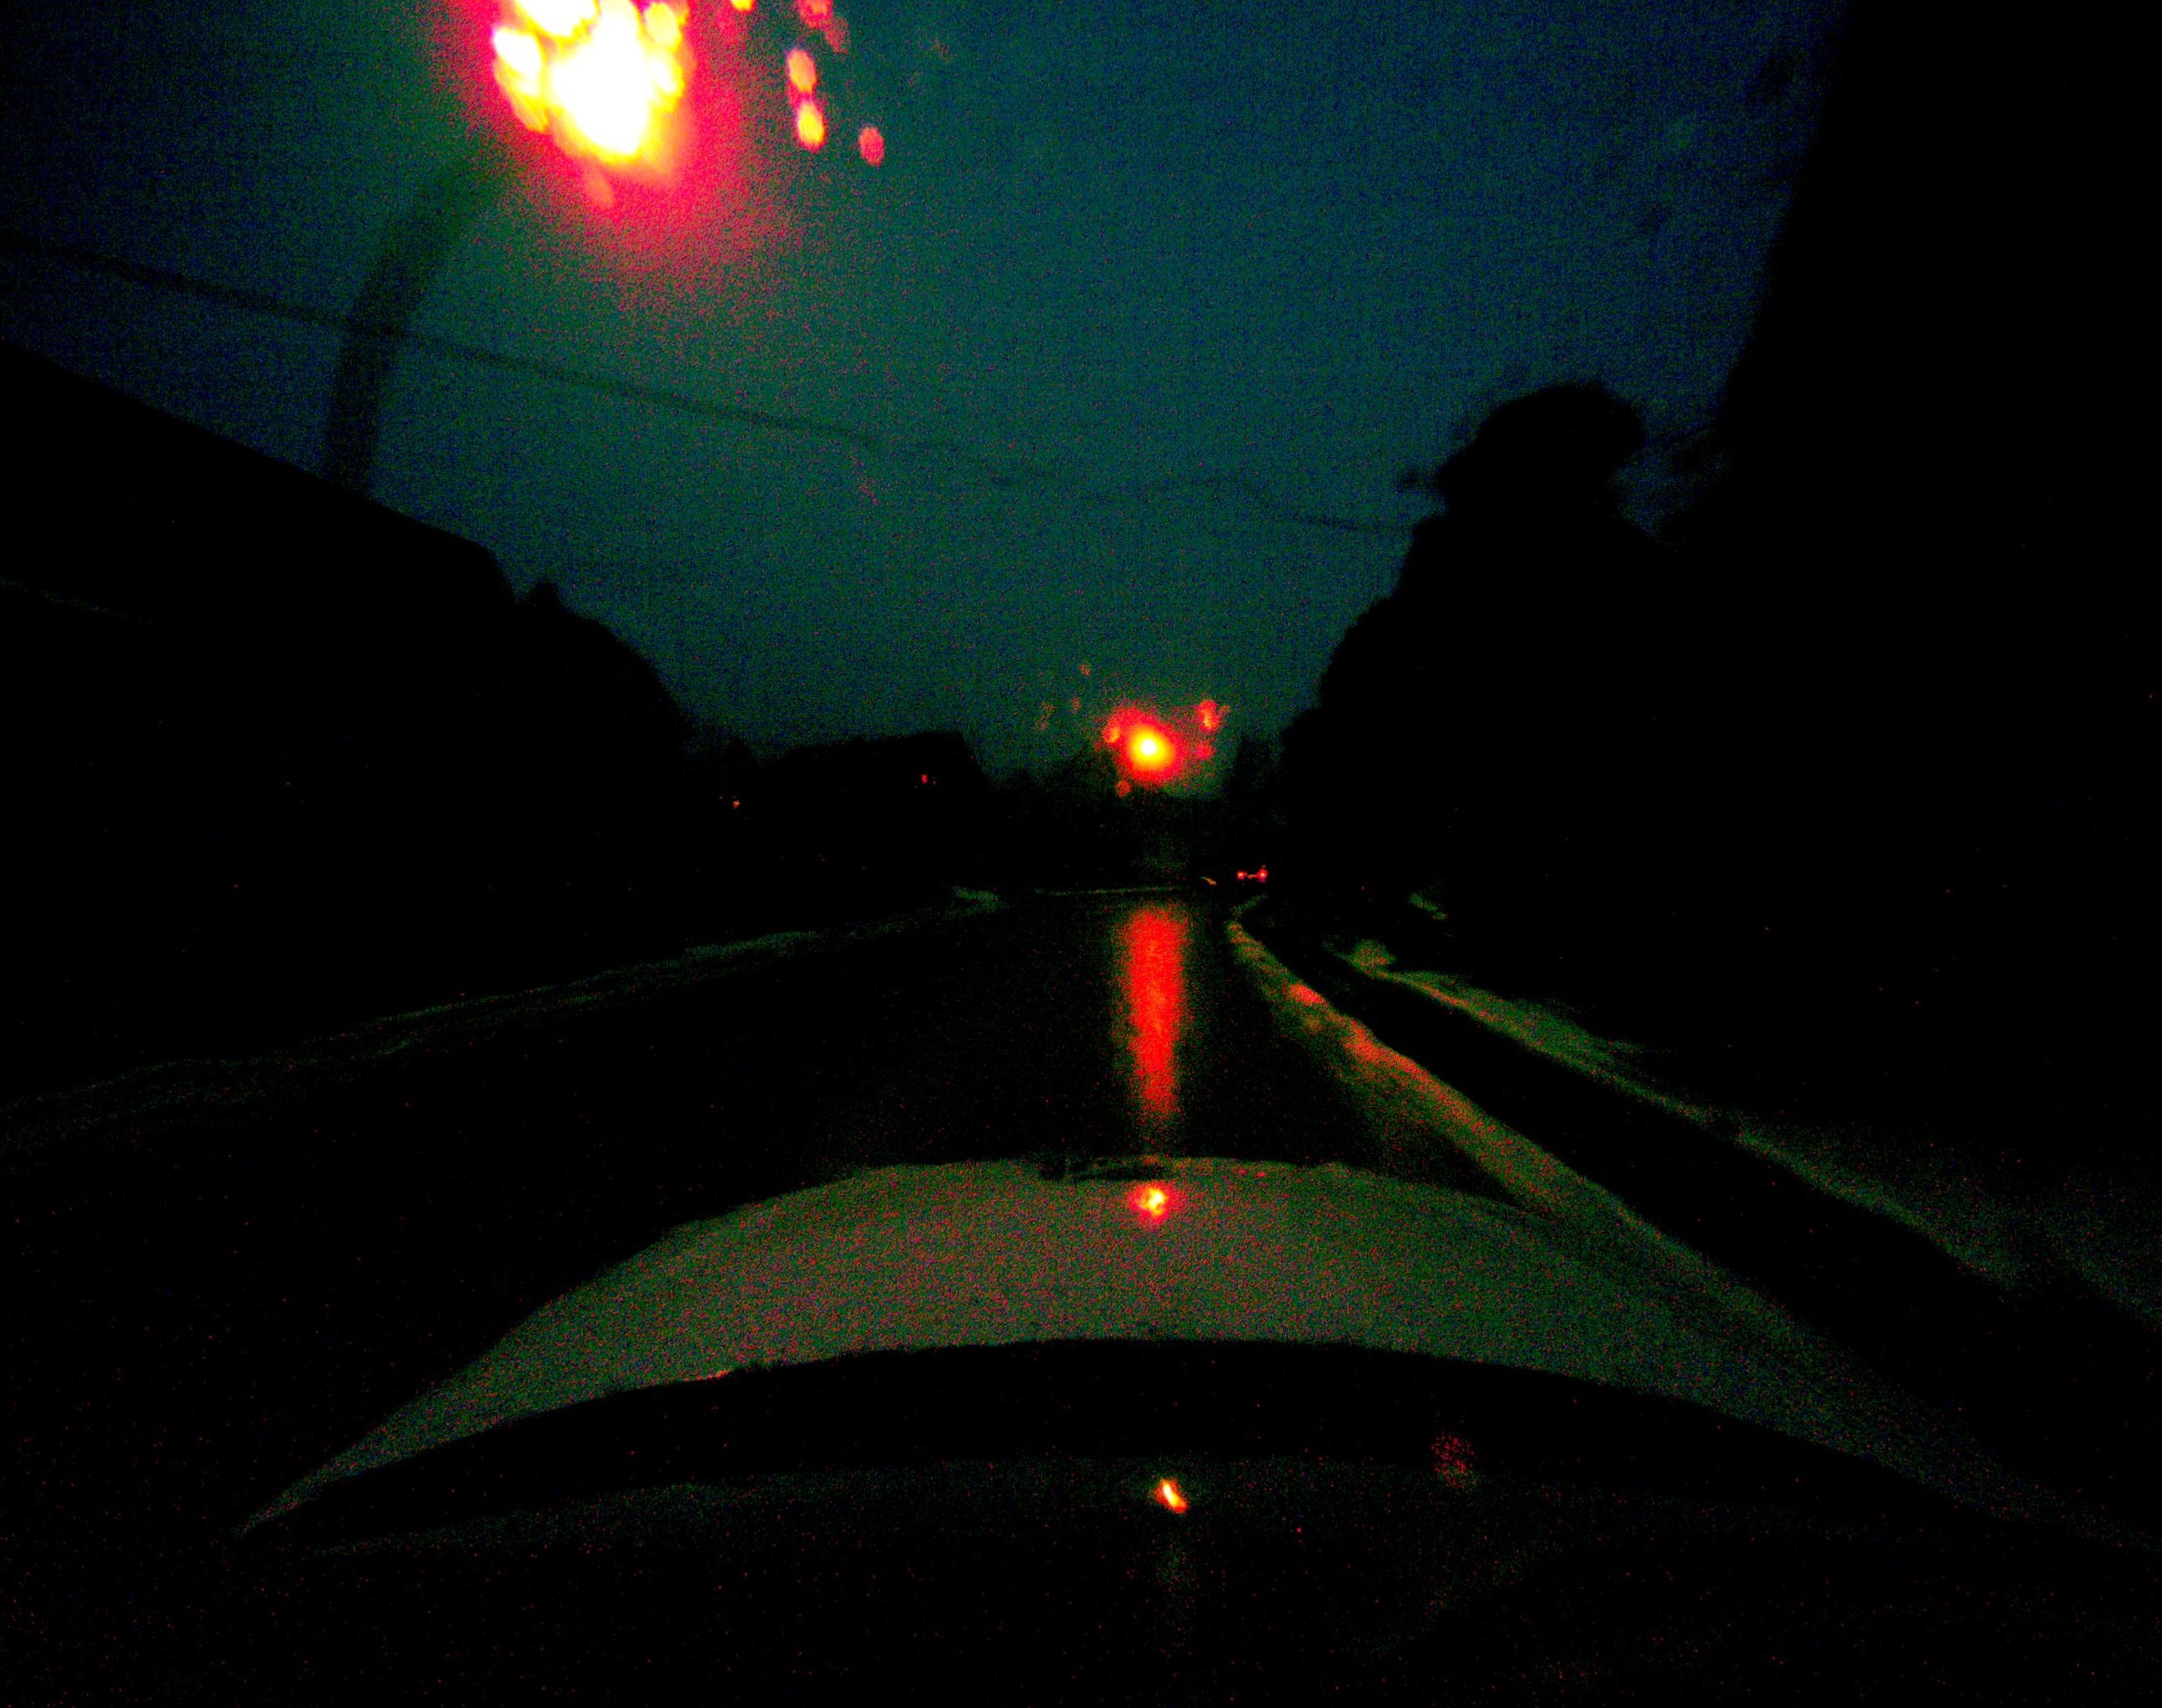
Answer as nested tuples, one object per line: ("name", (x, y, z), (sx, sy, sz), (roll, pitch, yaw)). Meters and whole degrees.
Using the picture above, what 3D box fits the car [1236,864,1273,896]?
("car", (10.516, 1.636, 49.257), (1.980, 1.737, 3.891), (-3, -4, 13))

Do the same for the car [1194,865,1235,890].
("car", (9.703, 1.750, 59.009), (1.976, 1.651, 4.021), (-4, -4, 22))

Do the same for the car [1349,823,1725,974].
("car", (5.856, 0.530, 10.735), (3.983, 1.690, 1.840), (-1, -1, -7))
